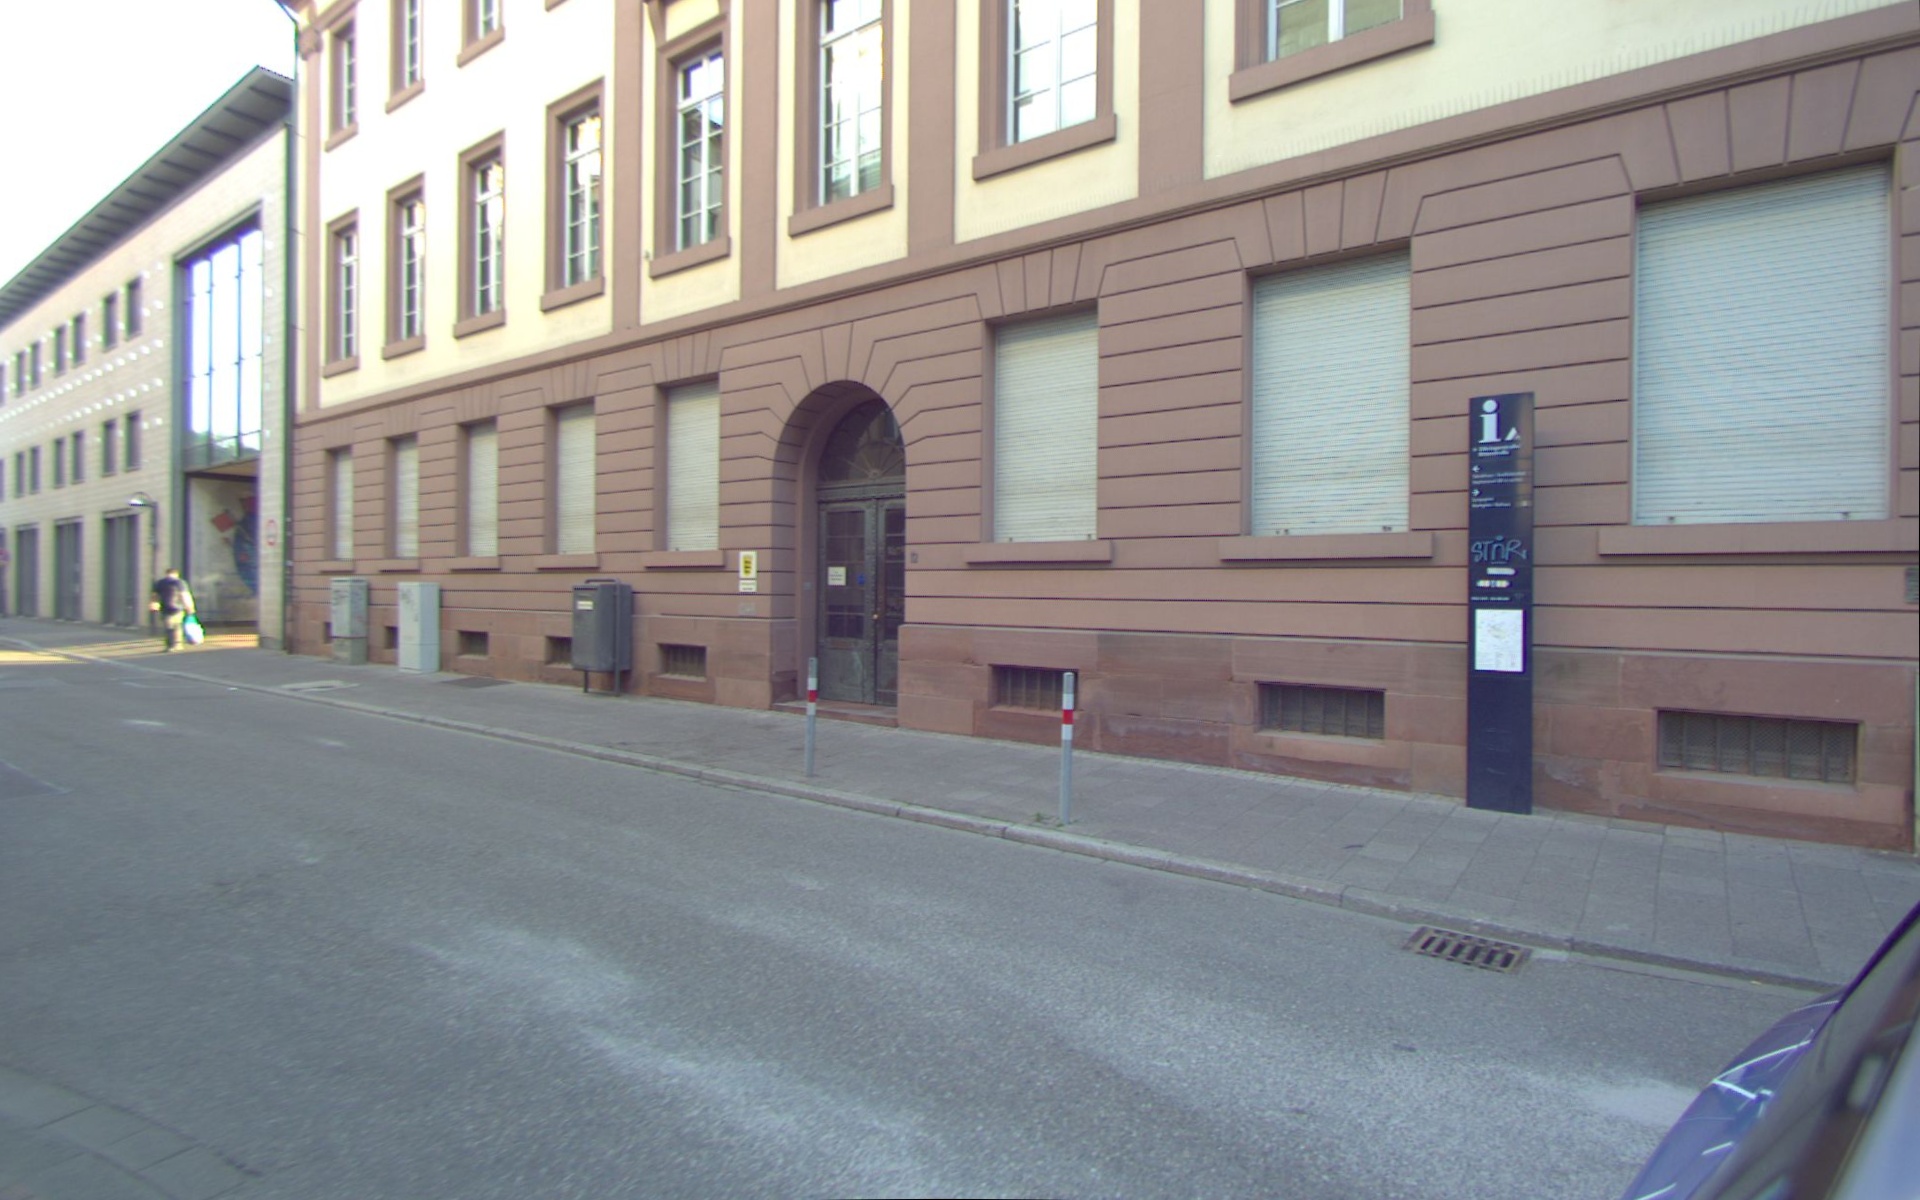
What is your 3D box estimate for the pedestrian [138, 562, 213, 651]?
[{"bbox_3d":[-17.049,0.118,21.988,0.876,1.825,0.991,0,4,37],"label":"pedestrian"}]
